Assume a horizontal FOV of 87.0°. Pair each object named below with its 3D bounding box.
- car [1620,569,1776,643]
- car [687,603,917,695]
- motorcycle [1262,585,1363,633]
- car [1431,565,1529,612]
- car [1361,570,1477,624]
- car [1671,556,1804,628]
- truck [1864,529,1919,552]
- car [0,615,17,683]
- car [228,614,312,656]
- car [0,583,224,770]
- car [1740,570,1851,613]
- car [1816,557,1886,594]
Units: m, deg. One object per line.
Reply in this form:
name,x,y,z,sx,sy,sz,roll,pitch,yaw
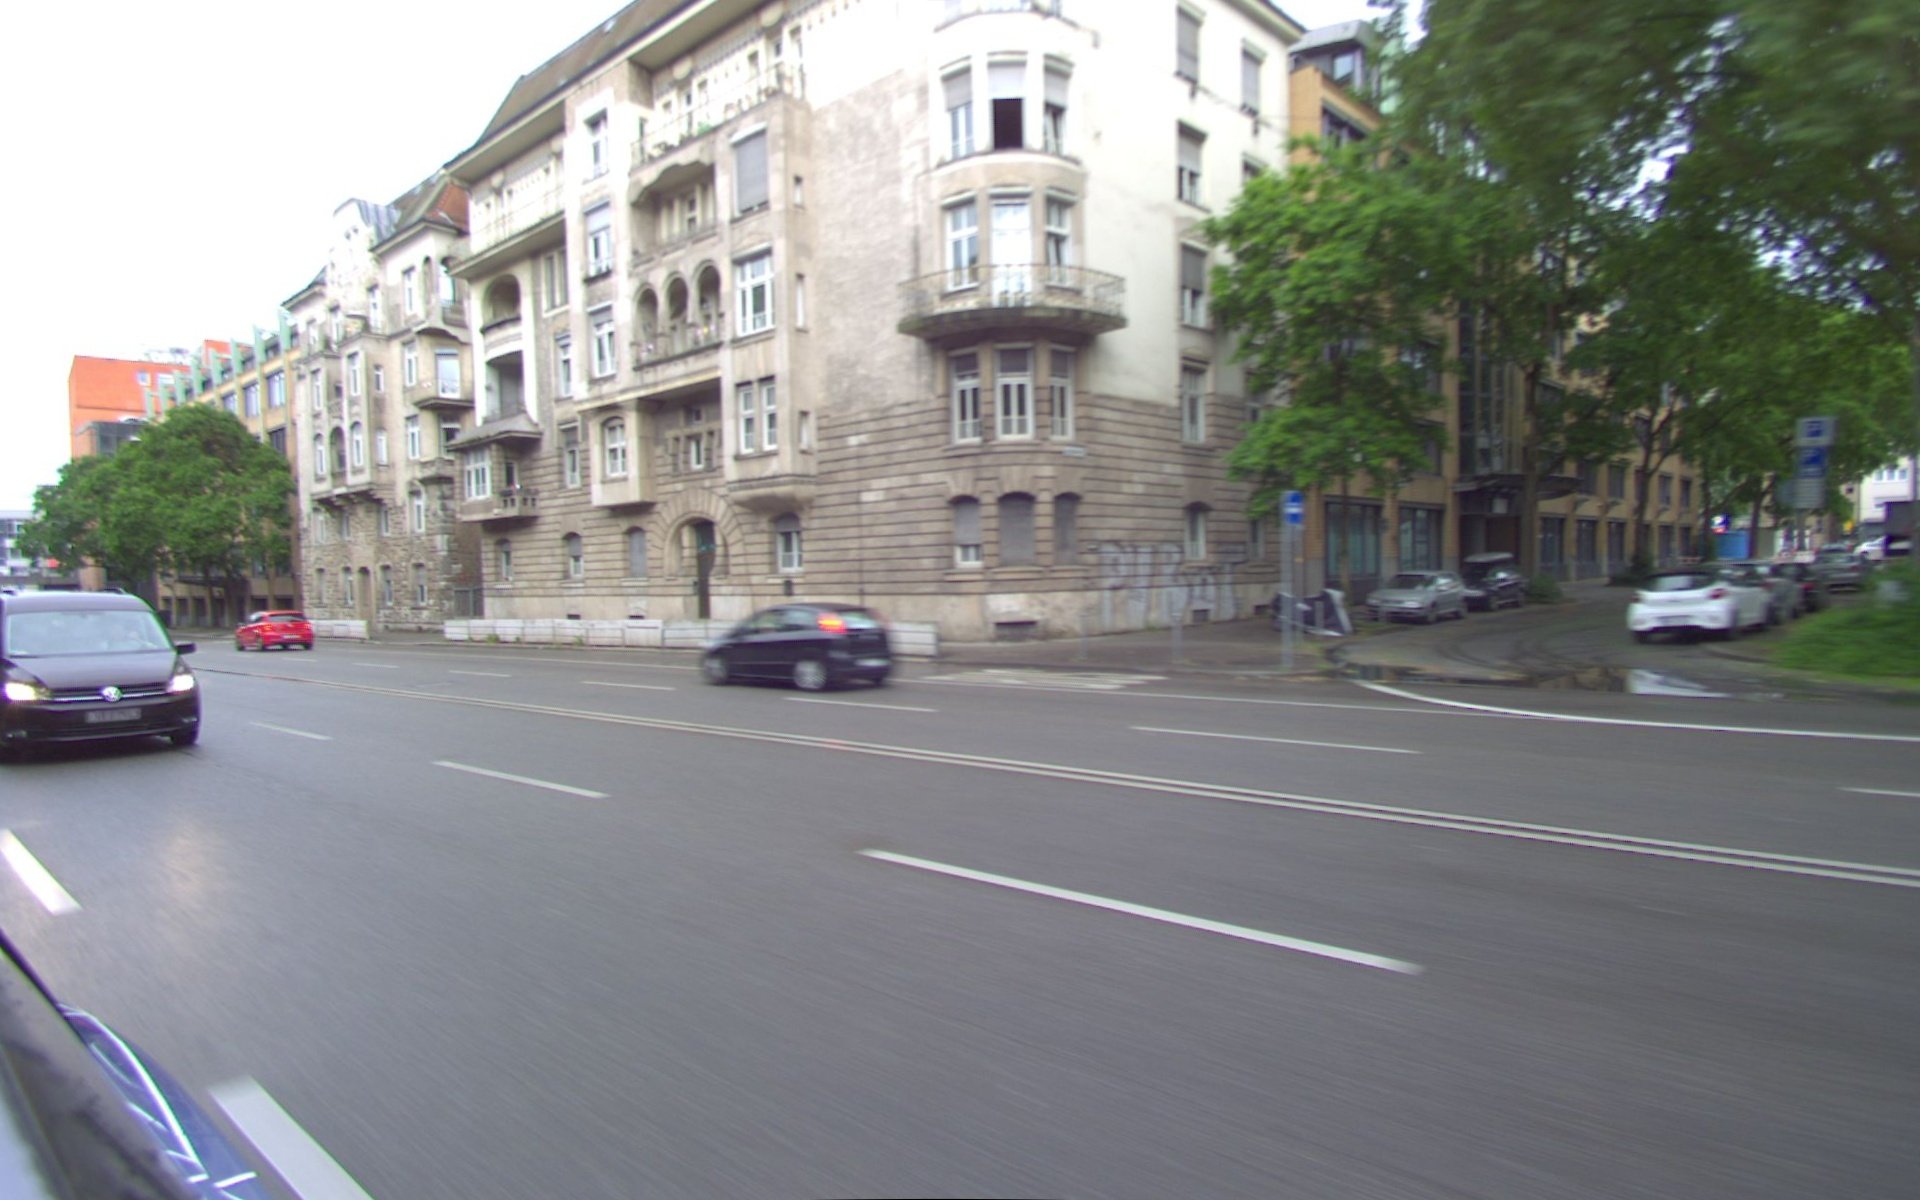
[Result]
car,15.241,0.111,20.859,3.451,1.386,1.782,-2,-1,-40
car,-2.750,0.773,17.170,3.911,1.349,1.684,-1,0,40
motorcycle,8.852,0.240,25.492,2.393,1.150,0.498,-1,1,43
car,17.217,-0.408,33.410,3.941,1.371,1.696,-3,2,-44
car,13.280,-0.104,29.172,3.941,1.371,1.696,-3,2,-44
car,18.246,-0.199,23.695,3.766,1.524,1.781,-2,-1,-42
truck,92.352,-5.860,99.727,4.820,2.028,1.972,-1,2,43
car,-25.005,1.243,25.137,3.996,1.625,1.710,-1,2,39
car,-25.495,1.255,37.332,3.959,1.424,1.564,-1,0,41
car,-10.251,0.772,11.677,3.995,1.804,1.820,-2,0,38
car,22.360,-0.248,27.053,3.452,1.033,1.781,-2,-1,-42
car,32.579,-0.899,36.976,3.452,1.216,1.499,-2,-1,-42
